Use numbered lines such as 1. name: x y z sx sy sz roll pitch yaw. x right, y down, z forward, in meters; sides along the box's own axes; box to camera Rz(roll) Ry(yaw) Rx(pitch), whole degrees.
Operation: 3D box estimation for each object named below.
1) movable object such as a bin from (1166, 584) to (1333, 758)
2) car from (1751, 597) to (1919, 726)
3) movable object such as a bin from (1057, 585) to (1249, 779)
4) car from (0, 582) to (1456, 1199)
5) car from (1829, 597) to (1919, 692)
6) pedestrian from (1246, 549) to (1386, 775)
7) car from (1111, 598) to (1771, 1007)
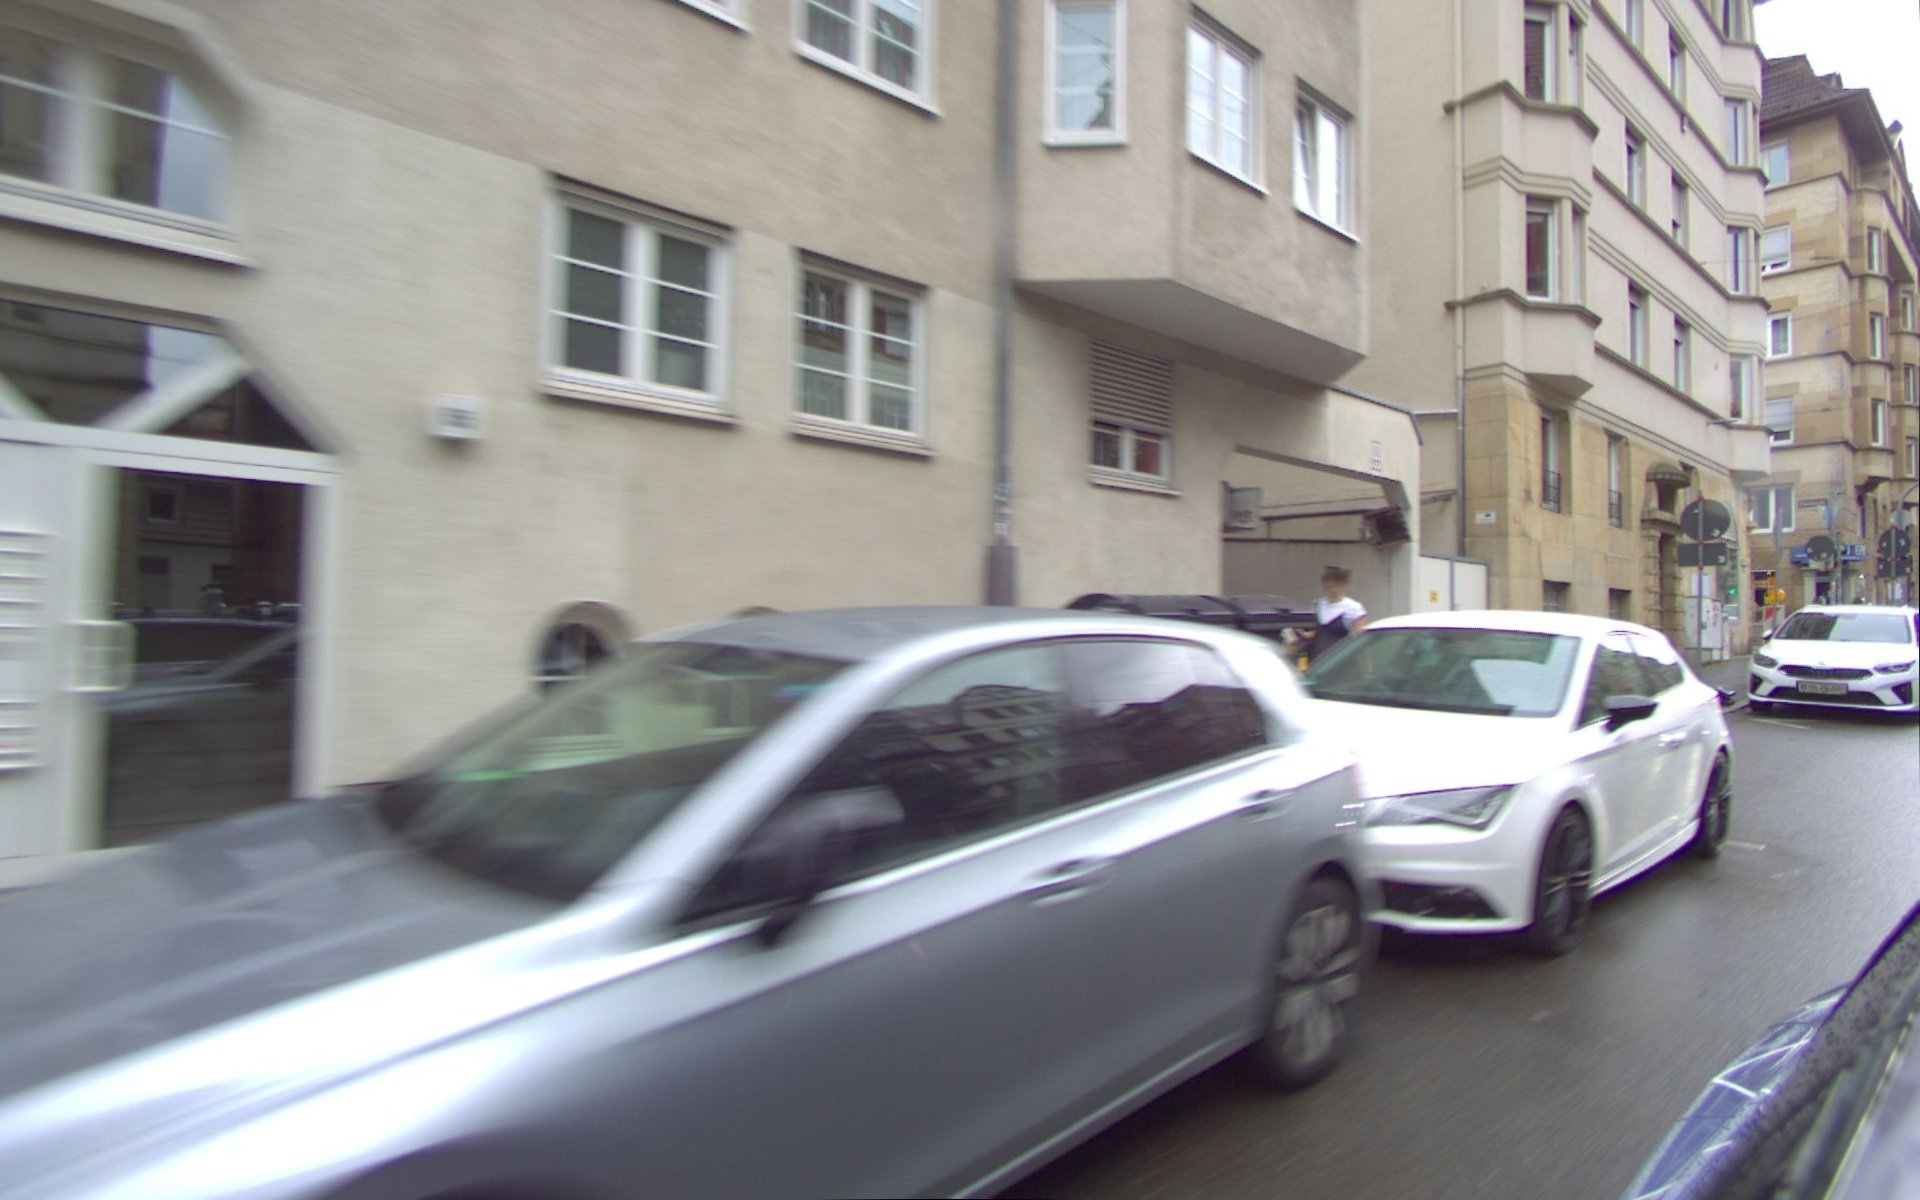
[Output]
1. movable object such as a bin: 2.711 0.600 9.476 1.250 1.486 0.981 -1 0 -41
2. car: 12.738 0.725 14.169 4.690 1.486 1.715 -1 1 -40
3. movable object such as a bin: 1.639 0.619 8.582 1.300 1.486 1.020 -1 0 -41
4. car: -0.444 0.705 2.780 4.302 1.486 1.834 -1 1 -43
5. car: 16.759 0.697 17.580 4.731 1.428 1.714 -1 1 -39
6. pedestrian: 2.874 0.463 8.189 0.741 1.708 0.806 -1 0 -41
7. car: 2.954 0.718 5.719 4.318 1.403 1.792 -1 1 -41
